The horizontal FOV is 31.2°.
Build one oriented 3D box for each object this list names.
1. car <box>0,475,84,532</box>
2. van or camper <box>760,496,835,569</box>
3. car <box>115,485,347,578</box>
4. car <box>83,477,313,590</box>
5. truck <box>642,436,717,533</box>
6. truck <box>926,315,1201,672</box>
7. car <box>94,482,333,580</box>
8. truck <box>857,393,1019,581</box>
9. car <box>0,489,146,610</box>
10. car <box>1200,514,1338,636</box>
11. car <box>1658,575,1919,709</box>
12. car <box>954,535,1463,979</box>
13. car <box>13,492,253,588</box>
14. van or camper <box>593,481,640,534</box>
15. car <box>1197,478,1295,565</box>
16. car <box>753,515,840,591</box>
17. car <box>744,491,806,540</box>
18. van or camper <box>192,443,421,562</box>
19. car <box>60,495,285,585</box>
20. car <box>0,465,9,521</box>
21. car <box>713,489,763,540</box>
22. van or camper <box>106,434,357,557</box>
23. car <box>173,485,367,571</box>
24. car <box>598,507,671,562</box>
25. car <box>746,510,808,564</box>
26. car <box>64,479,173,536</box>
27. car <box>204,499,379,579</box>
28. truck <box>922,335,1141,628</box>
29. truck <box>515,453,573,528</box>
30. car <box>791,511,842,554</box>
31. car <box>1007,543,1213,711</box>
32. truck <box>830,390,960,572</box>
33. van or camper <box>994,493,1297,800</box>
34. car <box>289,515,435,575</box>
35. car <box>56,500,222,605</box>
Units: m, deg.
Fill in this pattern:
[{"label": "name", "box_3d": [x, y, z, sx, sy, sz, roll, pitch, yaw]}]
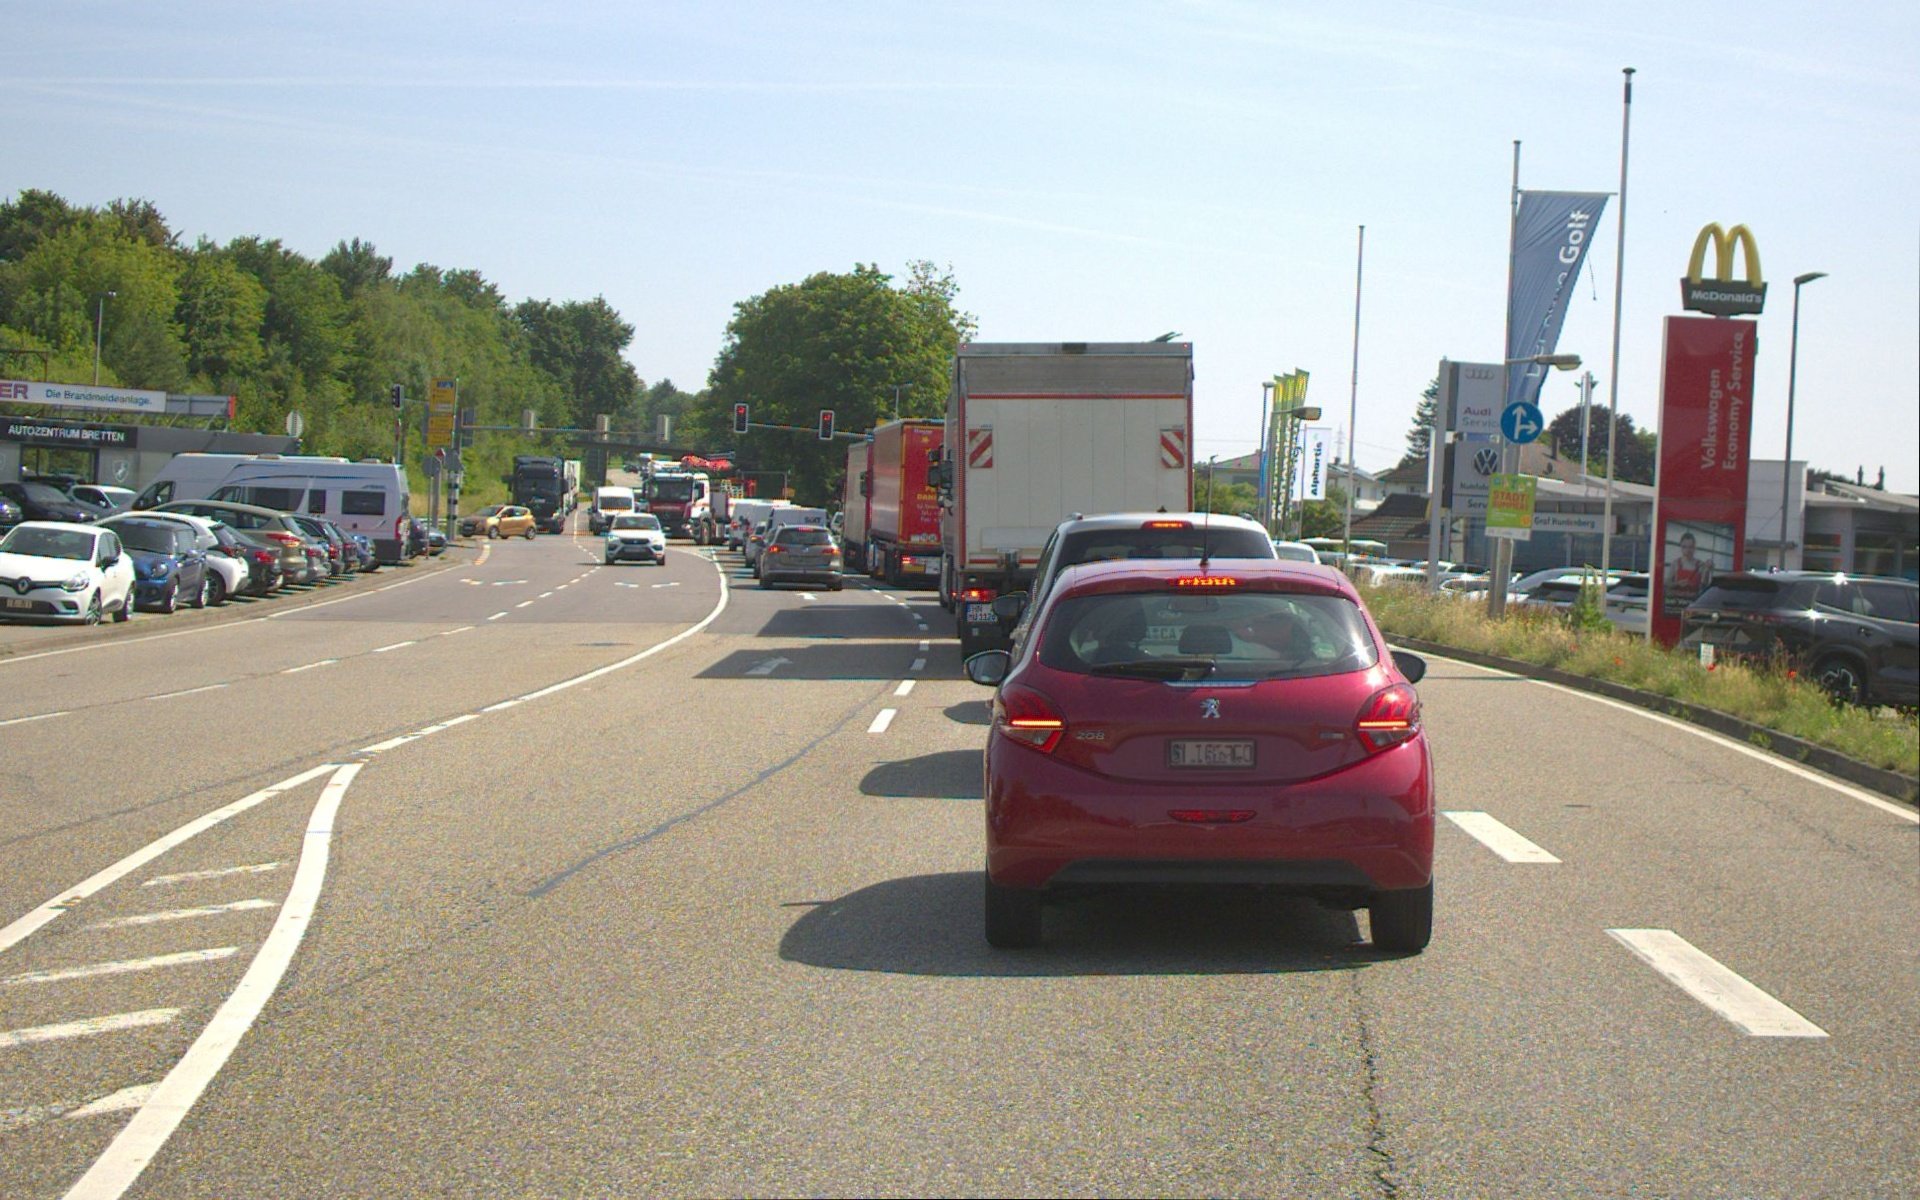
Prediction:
[{"label": "car", "box_3d": [-27.236, -2.845, 100.628, 1.763, 1.582, 3.829, 0, 2, -37]}, {"label": "van or camper", "box_3d": [-4.489, -1.879, 94.477, 1.852, 1.899, 3.785, 2, 2, -5]}, {"label": "car", "box_3d": [-15.201, -1.436, 71.842, 4.458, 1.479, 1.772, 6, 1, -5]}, {"label": "car", "box_3d": [-14.282, -1.259, 64.619, 3.885, 1.710, 1.807, 6, 1, -5]}, {"label": "truck", "box_3d": [-12.491, -5.149, 153.637, 2.956, 4.194, 10.648, 0, 2, -3]}, {"label": "truck", "box_3d": [1.081, -1.301, 43.098, 2.879, 3.798, 11.143, 2, 1, 0]}, {"label": "car", "box_3d": [-14.577, -1.361, 67.298, 4.276, 1.479, 1.837, 6, 1, -5]}, {"label": "truck", "box_3d": [-0.762, -2.874, 88.095, 2.956, 4.255, 16.588, 2, 2, -4]}, {"label": "car", "box_3d": [-13.028, -0.755, 49.371, 1.779, 1.612, 4.001, 2, 1, -2]}, {"label": "car", "box_3d": [4.783, -0.394, 53.508, 1.994, 1.744, 3.999, 3, 1, 5]}, {"label": "car", "box_3d": [9.656, 0.439, 37.899, 3.583, 1.404, 1.564, 0, 1, -24]}, {"label": "car", "box_3d": [0.965, 0.524, 14.143, 1.801, 1.566, 3.713, 1, 1, 2]}, {"label": "car", "box_3d": [-14.307, -1.049, 59.636, 3.795, 1.520, 1.847, 2, 2, -5]}, {"label": "van or camper", "box_3d": [-17.452, -4.711, 174.662, 2.173, 2.542, 4.171, 2, 2, -5]}, {"label": "car", "box_3d": [6.171, -1.672, 74.325, 1.994, 1.744, 3.999, 3, 1, 5]}, {"label": "car", "box_3d": [-3.668, -1.069, 77.480, 1.790, 1.633, 3.504, 1, 1, -1]}, {"label": "car", "box_3d": [-6.047, -2.760, 112.560, 1.727, 1.514, 3.312, 2, 1, 1]}, {"label": "van or camper", "box_3d": [-16.193, -2.431, 85.373, 5.245, 2.722, 2.211, 2, 1, -2]}, {"label": "car", "box_3d": [-14.148, -1.089, 61.911, 3.707, 1.520, 1.793, 1, 2, -5]}, {"label": "car", "box_3d": [-28.961, -3.124, 98.913, 1.763, 1.582, 3.829, 0, 2, -37]}, {"label": "car", "box_3d": [-8.689, -3.356, 134.934, 1.727, 1.902, 3.312, 2, 1, -1]}, {"label": "van or camper", "box_3d": [-18.527, -2.677, 87.668, 5.891, 2.863, 2.290, 2, 2, -4]}, {"label": "car", "box_3d": [-14.944, -1.578, 74.658, 3.843, 1.479, 1.802, 6, 1, -5]}, {"label": "car", "box_3d": [-9.982, -2.027, 105.639, 1.935, 1.668, 4.000, 0, 1, -1]}, {"label": "car", "box_3d": [-5.482, -1.875, 102.605, 1.726, 1.514, 3.313, 2, 1, -4]}, {"label": "car", "box_3d": [-24.990, -2.762, 102.067, 1.763, 1.582, 3.829, 0, 2, -37]}, {"label": "car", "box_3d": [-15.432, -1.417, 79.497, 3.707, 1.479, 1.708, 6, 2, -5]}, {"label": "truck", "box_3d": [0.963, -1.972, 59.280, 2.890, 4.251, 16.711, 2, 1, -1]}, {"label": "truck", "box_3d": [-21.419, -5.647, 176.750, 2.812, 3.773, 6.992, 0, 2, -8]}, {"label": "car", "box_3d": [-5.440, -2.543, 130.243, 1.726, 1.514, 3.313, 3, 1, -4]}, {"label": "car", "box_3d": [1.379, 0.208, 33.096, 1.735, 1.424, 4.225, 2, 1, 0]}, {"label": "truck", "box_3d": [-2.217, -3.723, 108.965, 3.062, 5.202, 17.010, 2, 2, -4]}, {"label": "van or camper", "box_3d": [1.153, 0.226, 23.246, 1.747, 1.781, 5.133, 2, 1, 1]}, {"label": "car", "box_3d": [-16.564, -1.535, 95.347, 3.816, 1.534, 1.843, 1, 1, -4]}, {"label": "car", "box_3d": [-13.432, -0.800, 56.416, 1.779, 1.489, 3.782, 6, 1, -2]}]
